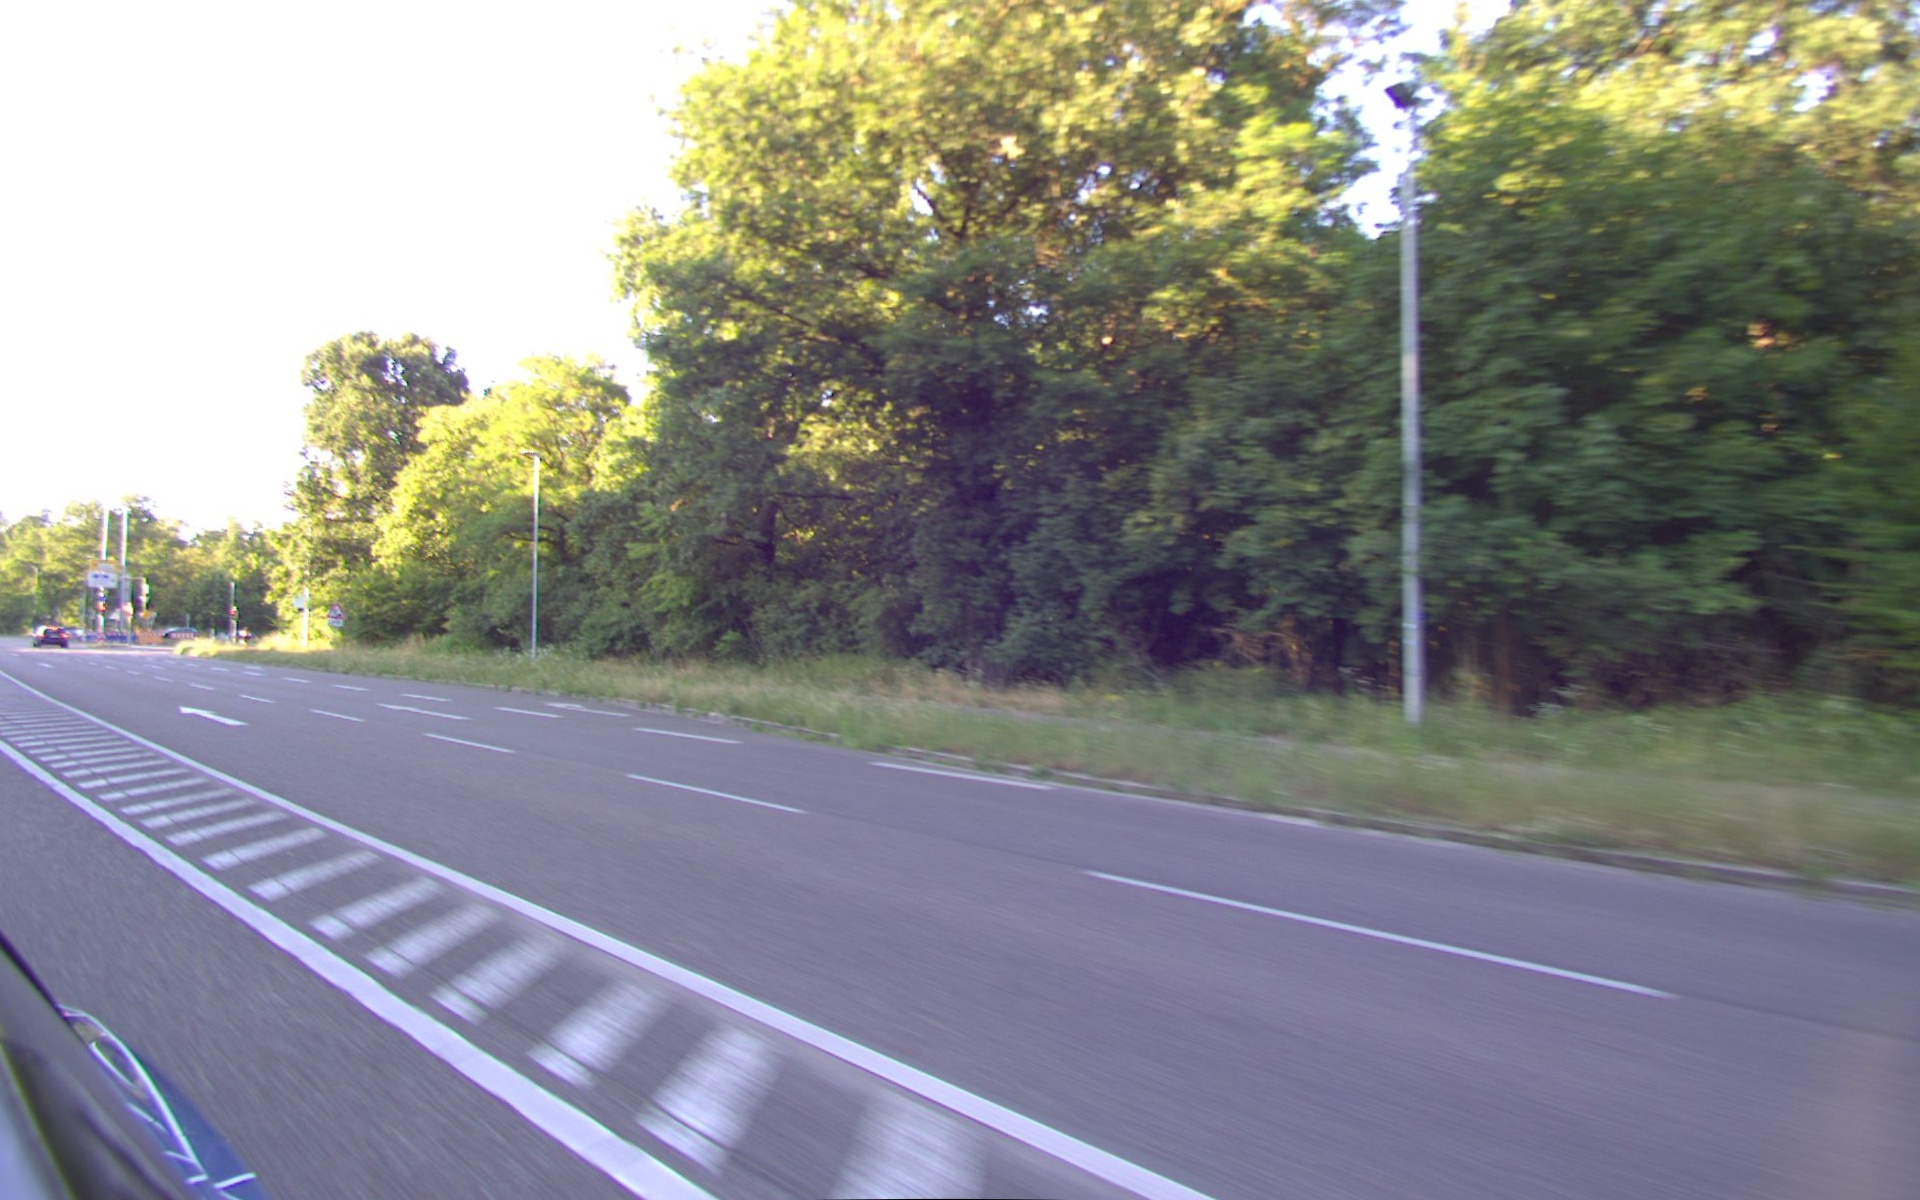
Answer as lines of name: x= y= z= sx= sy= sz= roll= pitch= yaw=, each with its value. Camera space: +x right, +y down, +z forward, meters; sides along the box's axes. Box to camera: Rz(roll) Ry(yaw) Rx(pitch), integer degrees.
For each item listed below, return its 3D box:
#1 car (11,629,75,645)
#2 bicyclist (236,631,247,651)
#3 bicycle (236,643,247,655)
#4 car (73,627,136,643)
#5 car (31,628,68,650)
car: x=-87.315 y=3.529 z=96.427 sx=1.712 sy=1.467 sz=4.198 roll=-1 pitch=-2 yaw=25
bicyclist: x=-50.713 y=2.884 z=71.387 sx=0.578 sy=1.440 sz=0.824 roll=3 pitch=-3 yaw=-36
bicycle: x=-50.544 y=3.469 z=71.225 sx=0.578 sy=0.810 sz=1.963 roll=3 pitch=-3 yaw=-36
car: x=-80.370 y=3.309 z=95.157 sx=1.712 sy=1.467 sz=4.198 roll=-1 pitch=-2 yaw=25
car: x=-65.376 y=2.798 z=72.713 sx=1.797 sy=1.545 sz=4.461 roll=5 pitch=-4 yaw=-41
